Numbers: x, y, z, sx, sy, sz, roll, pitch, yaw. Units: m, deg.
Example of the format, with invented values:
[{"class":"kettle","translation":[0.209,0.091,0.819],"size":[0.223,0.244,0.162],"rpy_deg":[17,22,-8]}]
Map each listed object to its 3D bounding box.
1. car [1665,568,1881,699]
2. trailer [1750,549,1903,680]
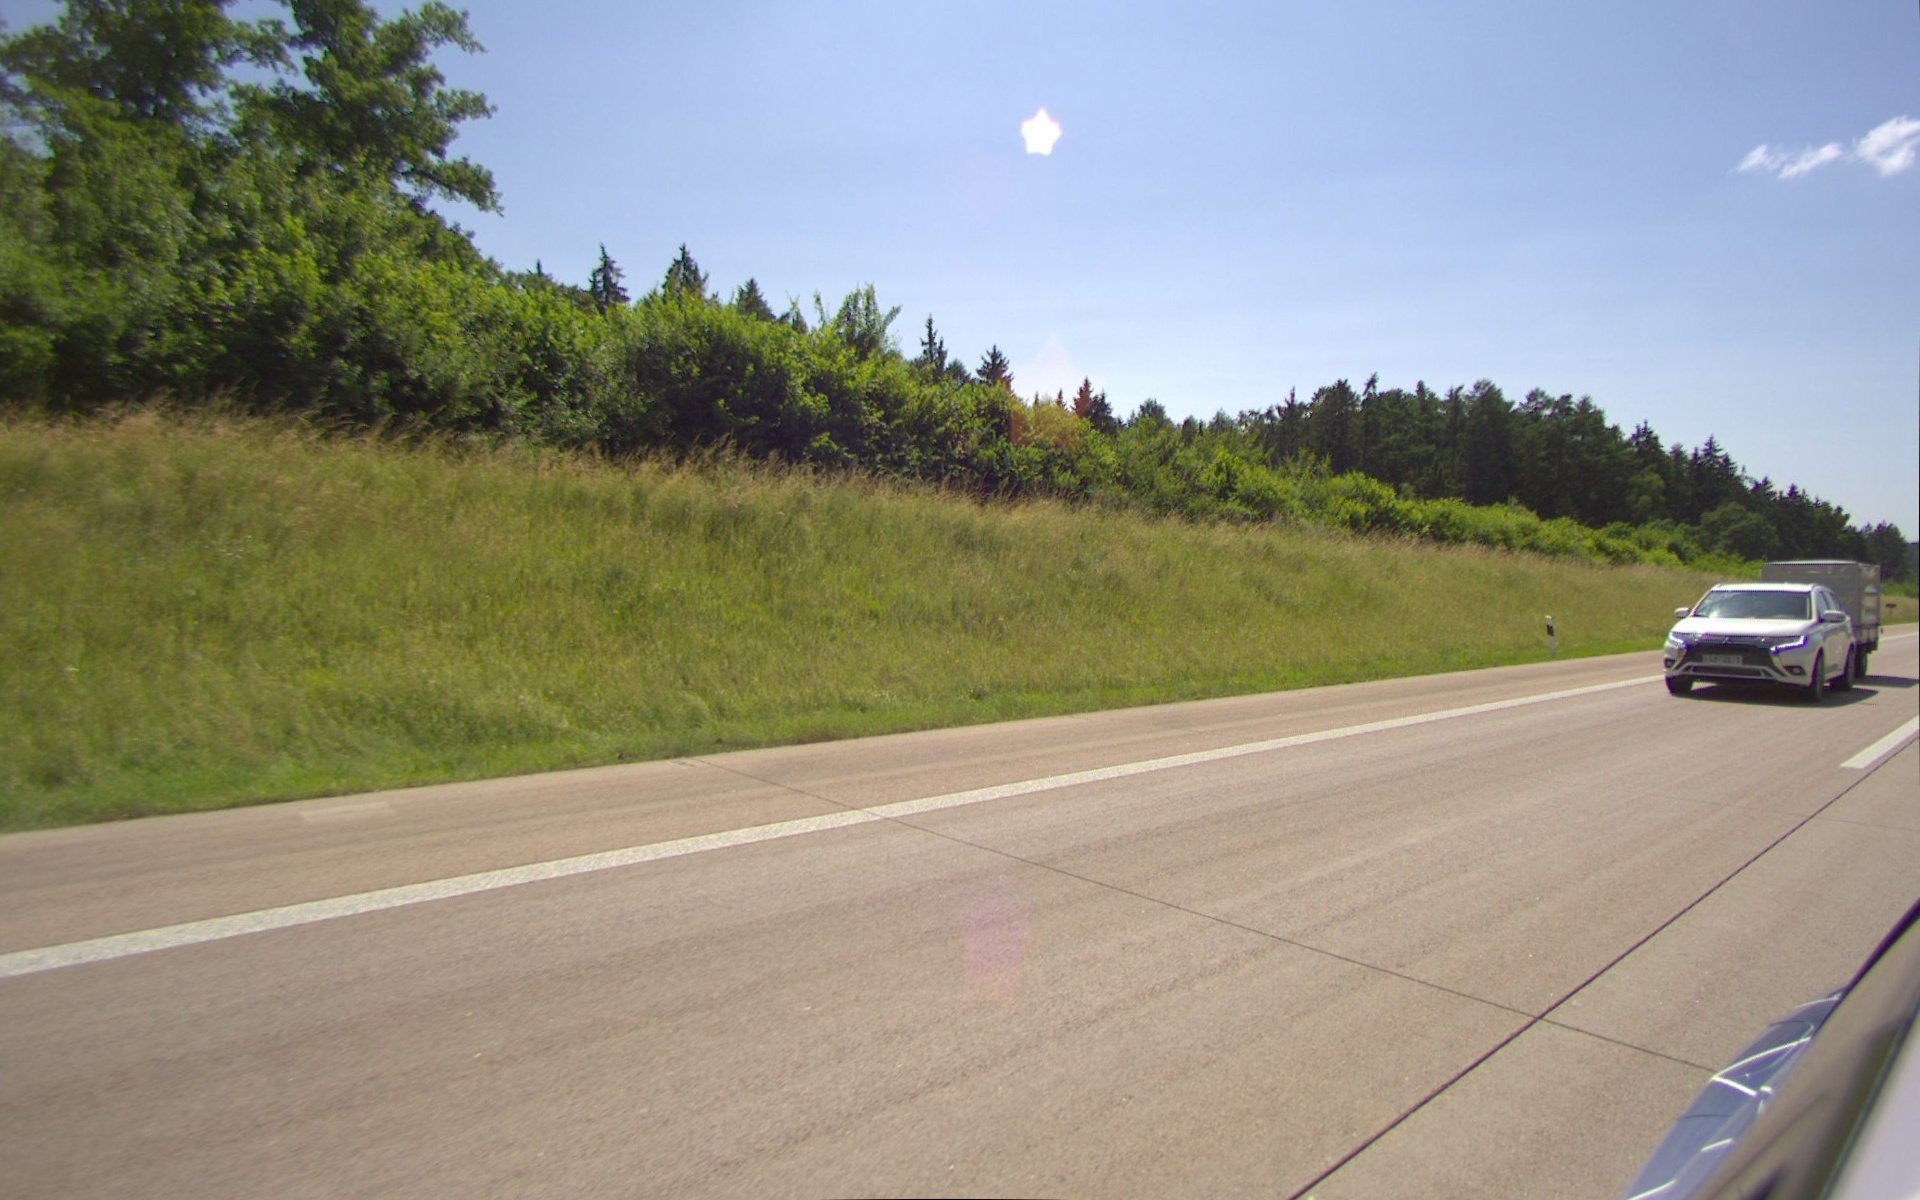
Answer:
[{"class":"car","translation":[12.870,0.419,15.890],"size":[5.098,1.750,1.893],"rpy_deg":[0,1,-42]},{"class":"trailer","translation":[16.223,0.229,18.889],"size":[3.946,2.191,1.660],"rpy_deg":[0,0,-42]}]
